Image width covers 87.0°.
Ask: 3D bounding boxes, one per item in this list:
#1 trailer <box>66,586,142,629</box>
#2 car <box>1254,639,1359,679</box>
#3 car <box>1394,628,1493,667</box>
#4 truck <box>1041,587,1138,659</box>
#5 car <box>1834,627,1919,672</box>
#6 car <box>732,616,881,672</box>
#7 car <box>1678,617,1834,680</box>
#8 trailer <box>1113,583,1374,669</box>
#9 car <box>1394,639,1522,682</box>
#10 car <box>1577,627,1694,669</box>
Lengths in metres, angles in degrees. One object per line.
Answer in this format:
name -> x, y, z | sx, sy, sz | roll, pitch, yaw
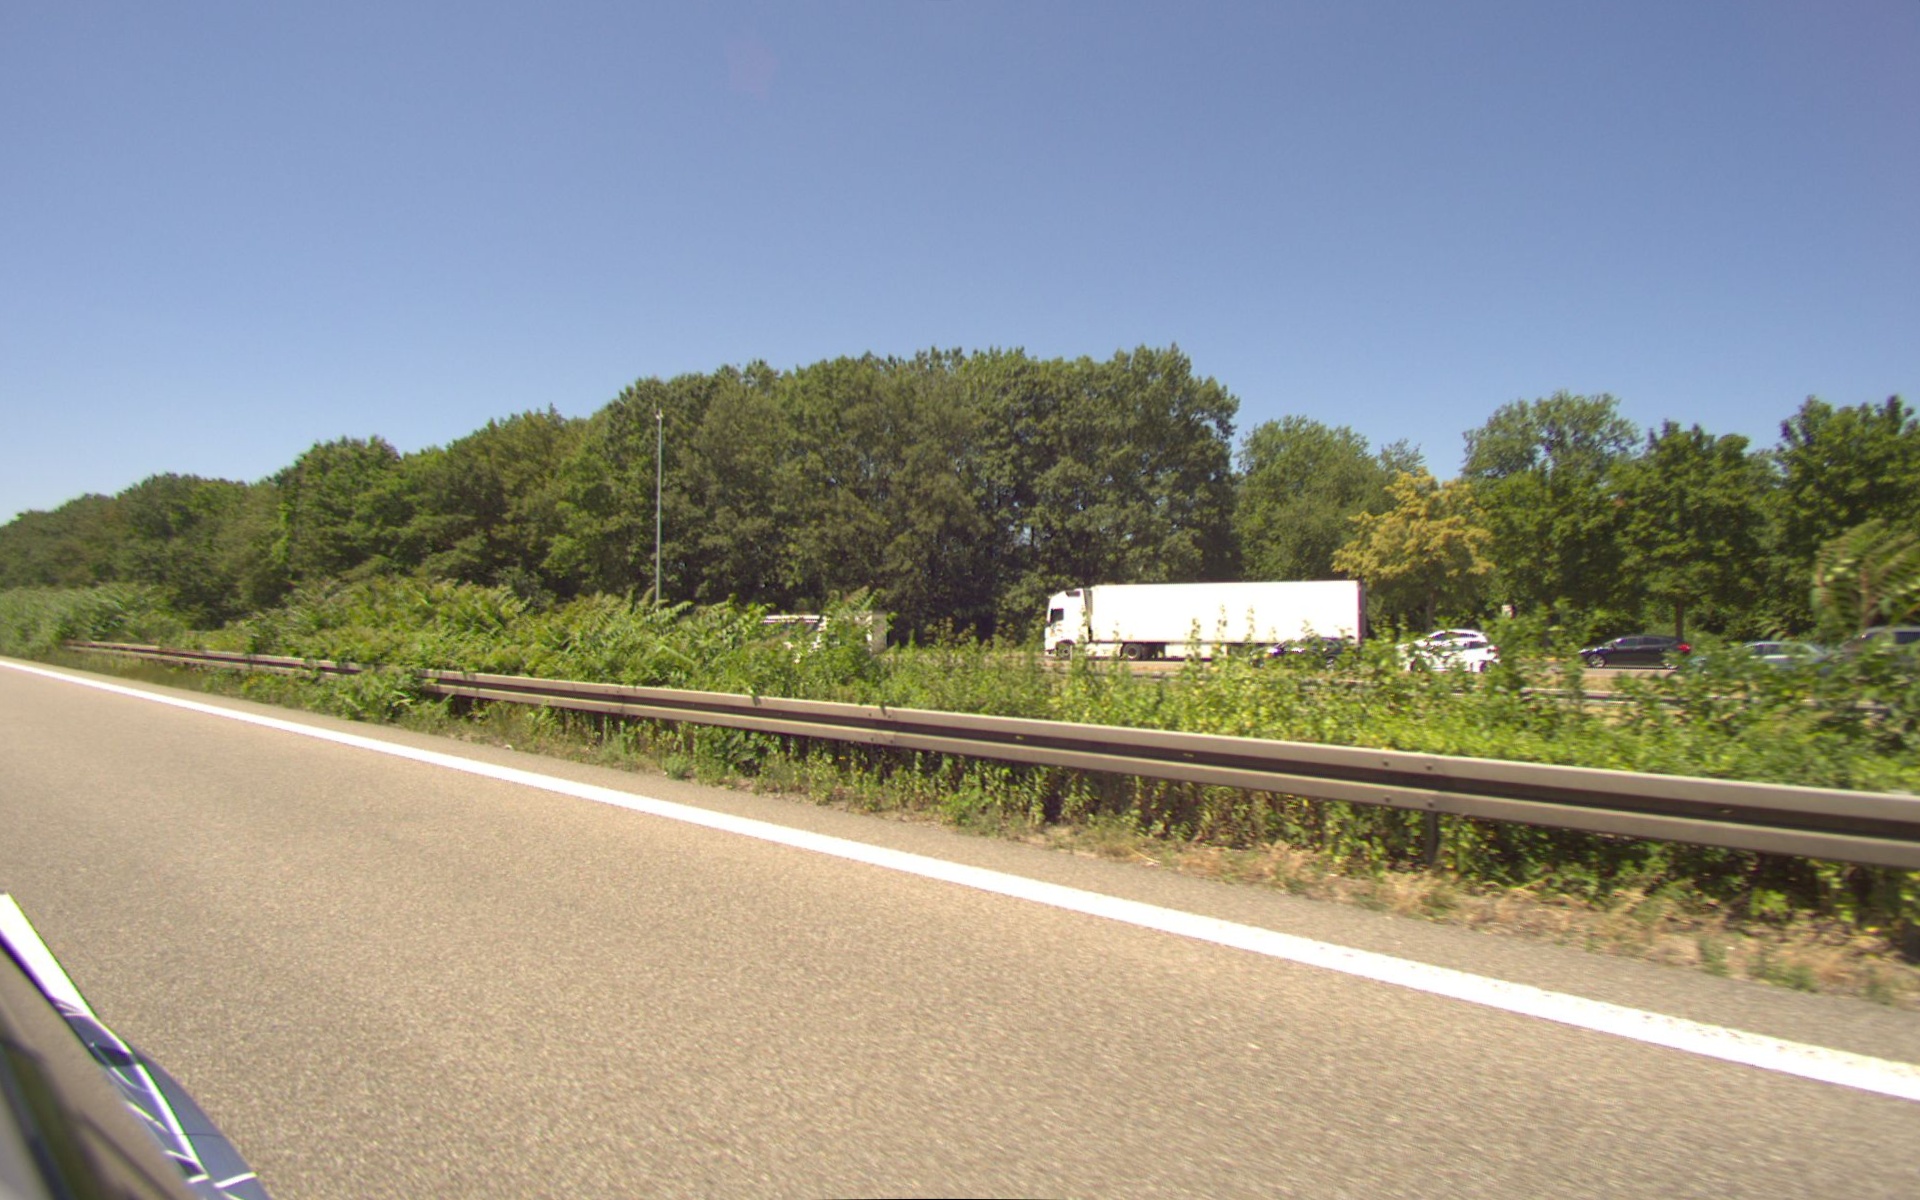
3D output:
trailer -> -77.194, 0.715, 91.138 | 13.421, 3.597, 2.934 | -1, -1, 40
car -> 14.622, 2.453, 42.709 | 3.981, 1.592, 1.981 | -1, -2, 28
car -> 22.293, 2.143, 46.668 | 3.984, 1.703, 1.980 | -1, -2, 30
truck -> 7.111, 1.284, 55.448 | 4.672, 3.797, 2.591 | -1, -2, 30
car -> 36.342, 1.880, 38.768 | 3.984, 1.703, 1.980 | -1, -2, 30
car -> -4.398, 1.221, 28.730 | 4.268, 1.476, 1.823 | -1, -2, 40
car -> 27.010, 1.622, 34.546 | 3.989, 2.029, 1.977 | -1, -2, 34
trailer -> 14.142, 1.316, 51.391 | 12.554, 4.001, 2.591 | -1, -2, 30
car -> 19.625, 2.346, 39.981 | 4.406, 1.592, 1.981 | -1, -2, 28
car -> 28.623, 2.027, 43.059 | 3.984, 1.703, 1.980 | -1, -2, 30
